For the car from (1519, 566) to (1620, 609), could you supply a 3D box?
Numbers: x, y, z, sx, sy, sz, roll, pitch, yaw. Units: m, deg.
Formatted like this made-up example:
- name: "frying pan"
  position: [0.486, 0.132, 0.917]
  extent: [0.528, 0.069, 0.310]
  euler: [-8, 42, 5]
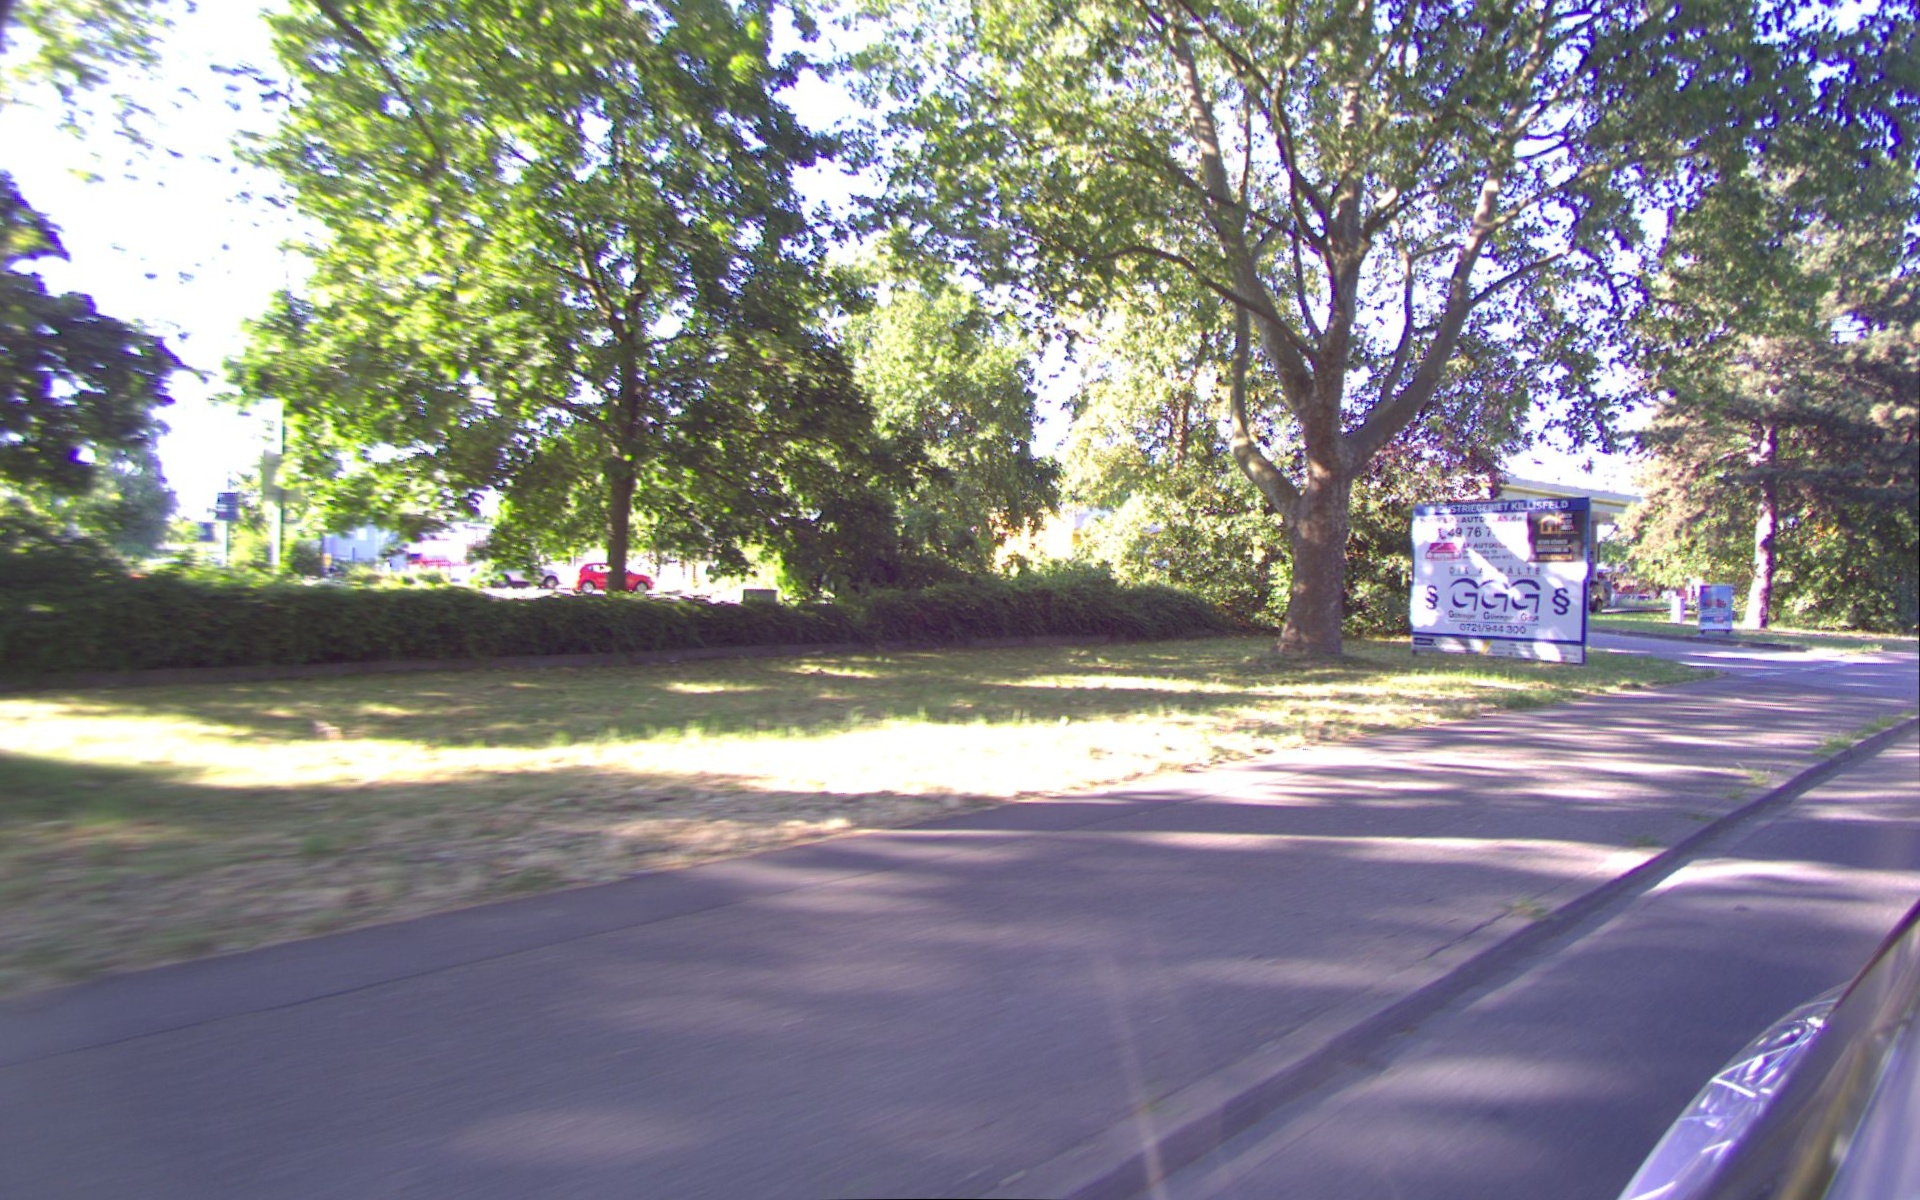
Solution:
- name: "car"
  position: [24.675, -0.513, 40.904]
  extent: [4.391, 1.667, 1.930]
  euler: [0, 1, -36]

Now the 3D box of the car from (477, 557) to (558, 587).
- name: "car"
  position: [-25.322, -1.606, 57.985]
  extent: [3.923, 1.638, 2.001]
  euler: [1, 2, -35]

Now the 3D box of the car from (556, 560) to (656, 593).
- name: "car"
  position: [-16.178, -1.079, 46.310]
  extent: [3.923, 1.371, 2.001]
  euler: [1, 2, -35]
